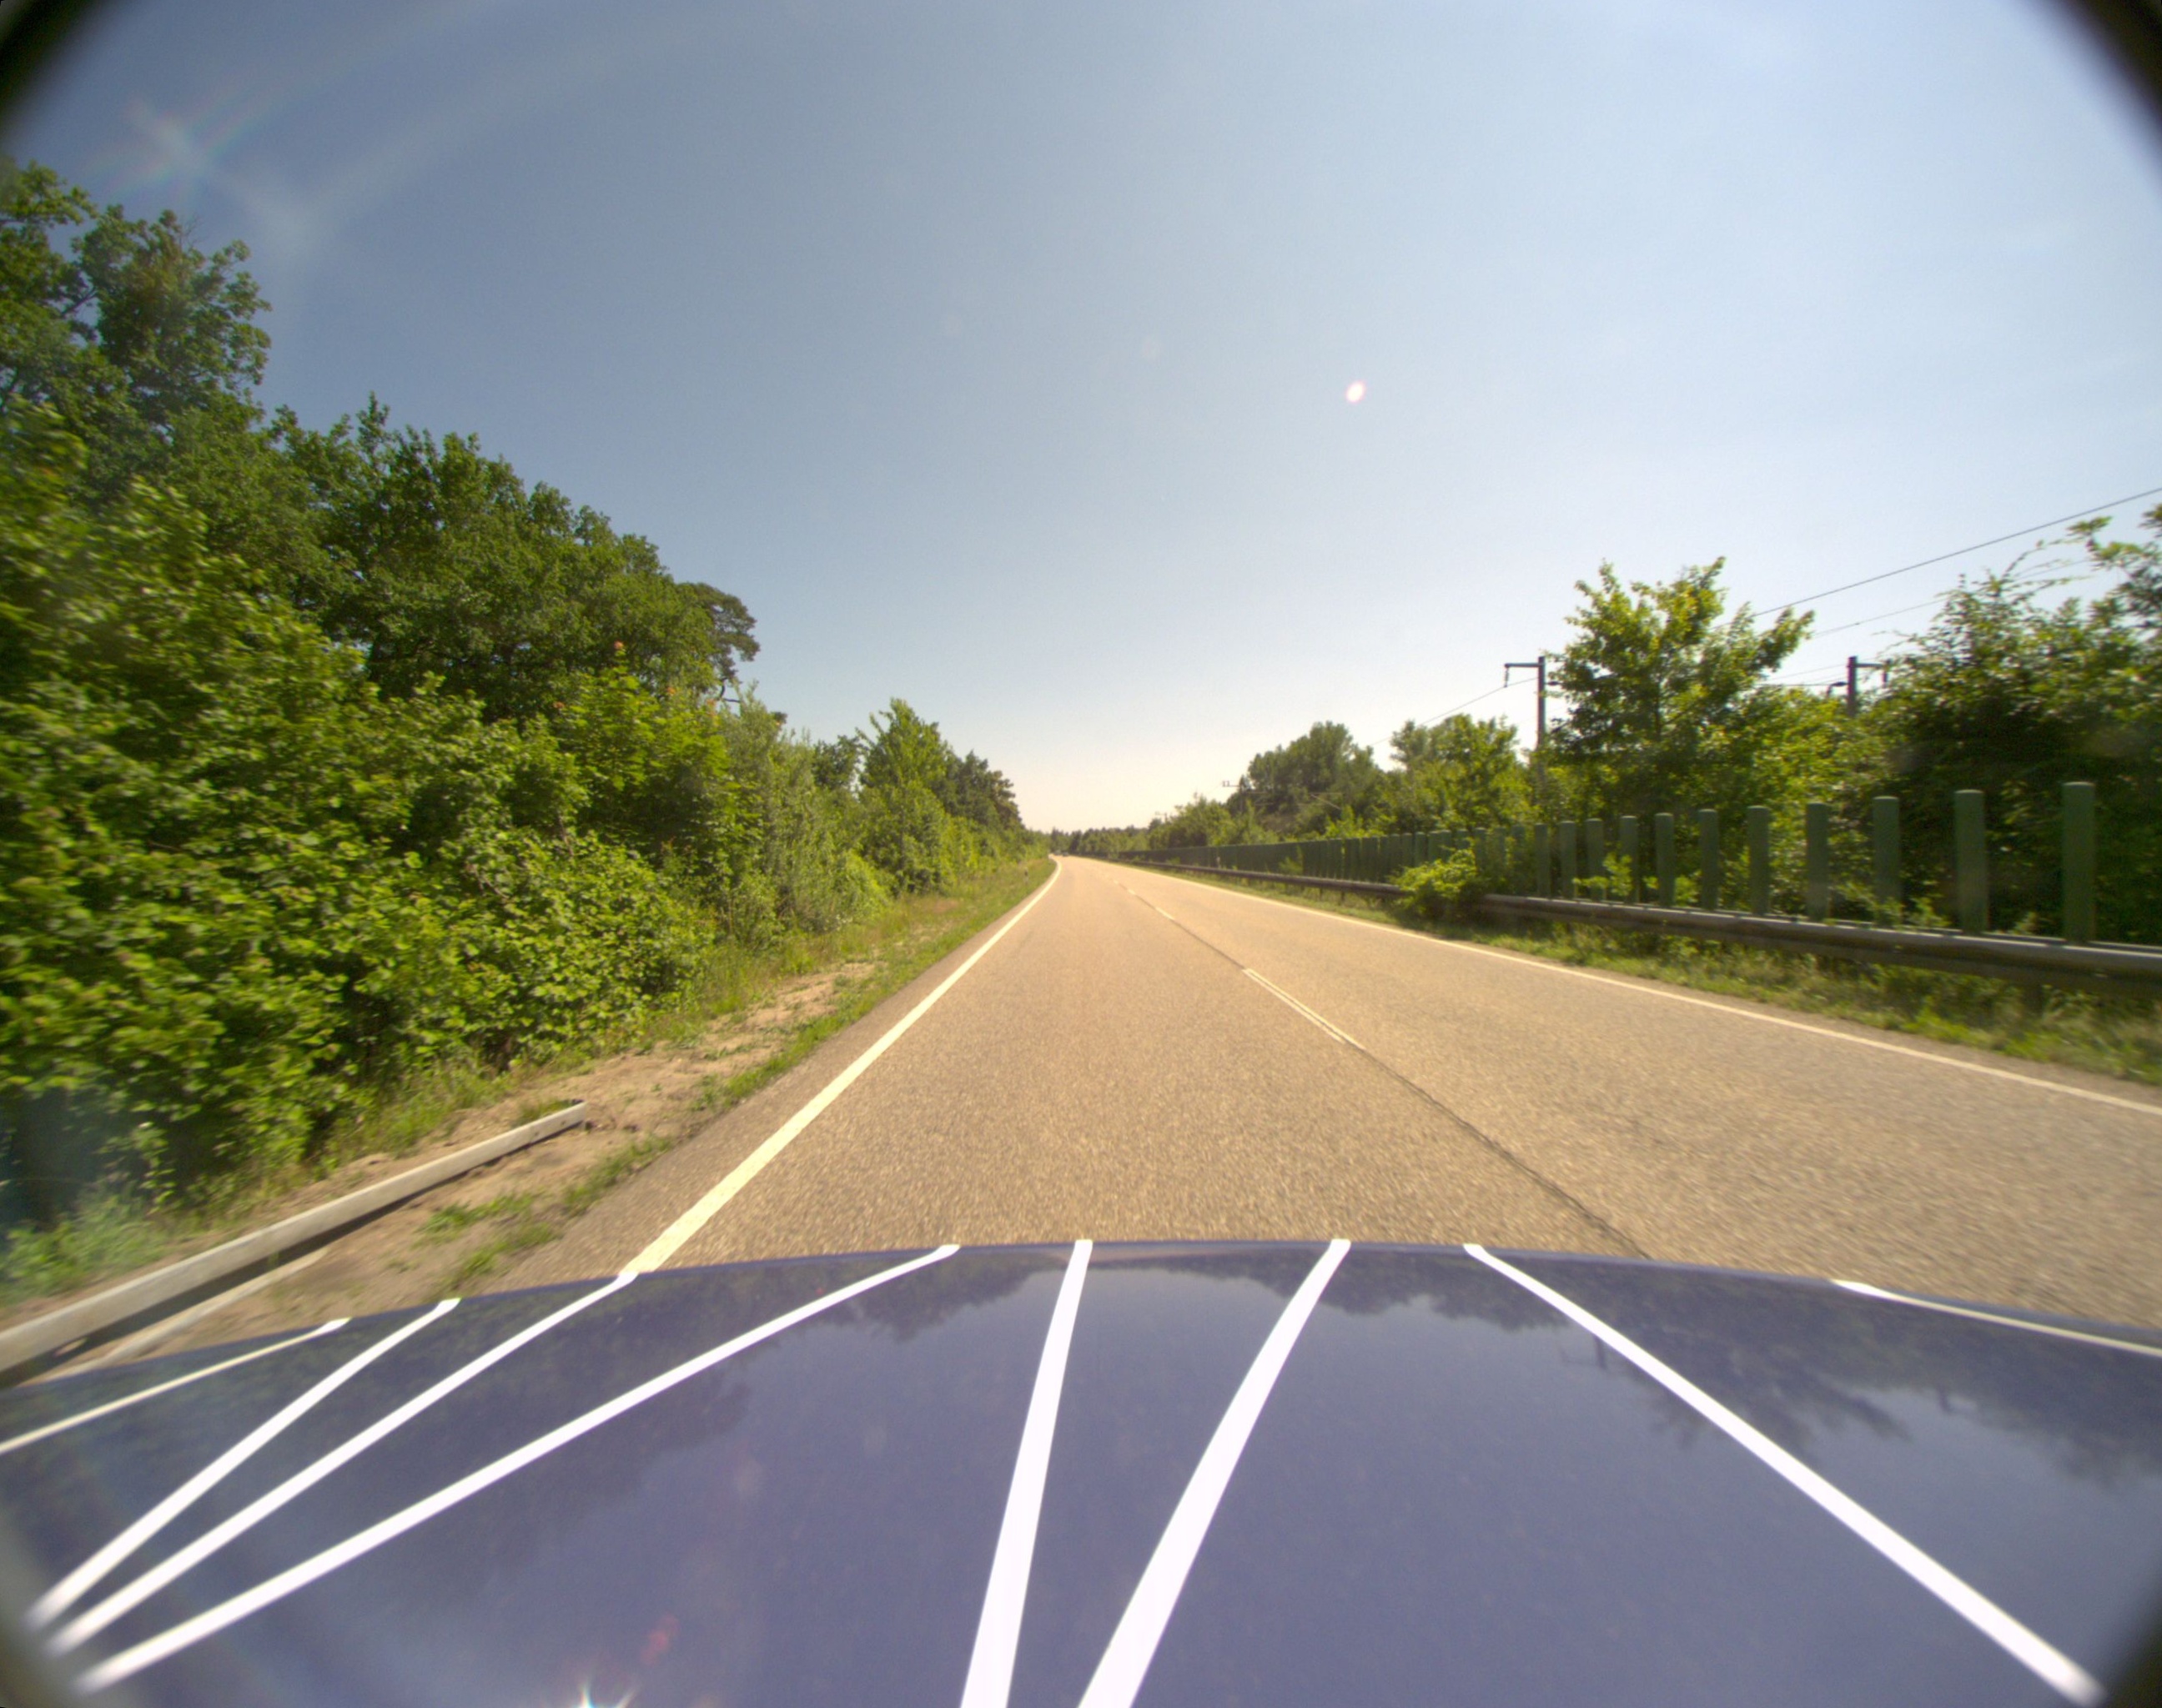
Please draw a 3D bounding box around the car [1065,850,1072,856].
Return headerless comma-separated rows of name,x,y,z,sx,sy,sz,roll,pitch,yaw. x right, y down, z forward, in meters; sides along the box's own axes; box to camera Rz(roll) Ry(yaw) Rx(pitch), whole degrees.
car,-4.093,-0.385,249.383,1.762,1.874,4.532,-1,1,-5
